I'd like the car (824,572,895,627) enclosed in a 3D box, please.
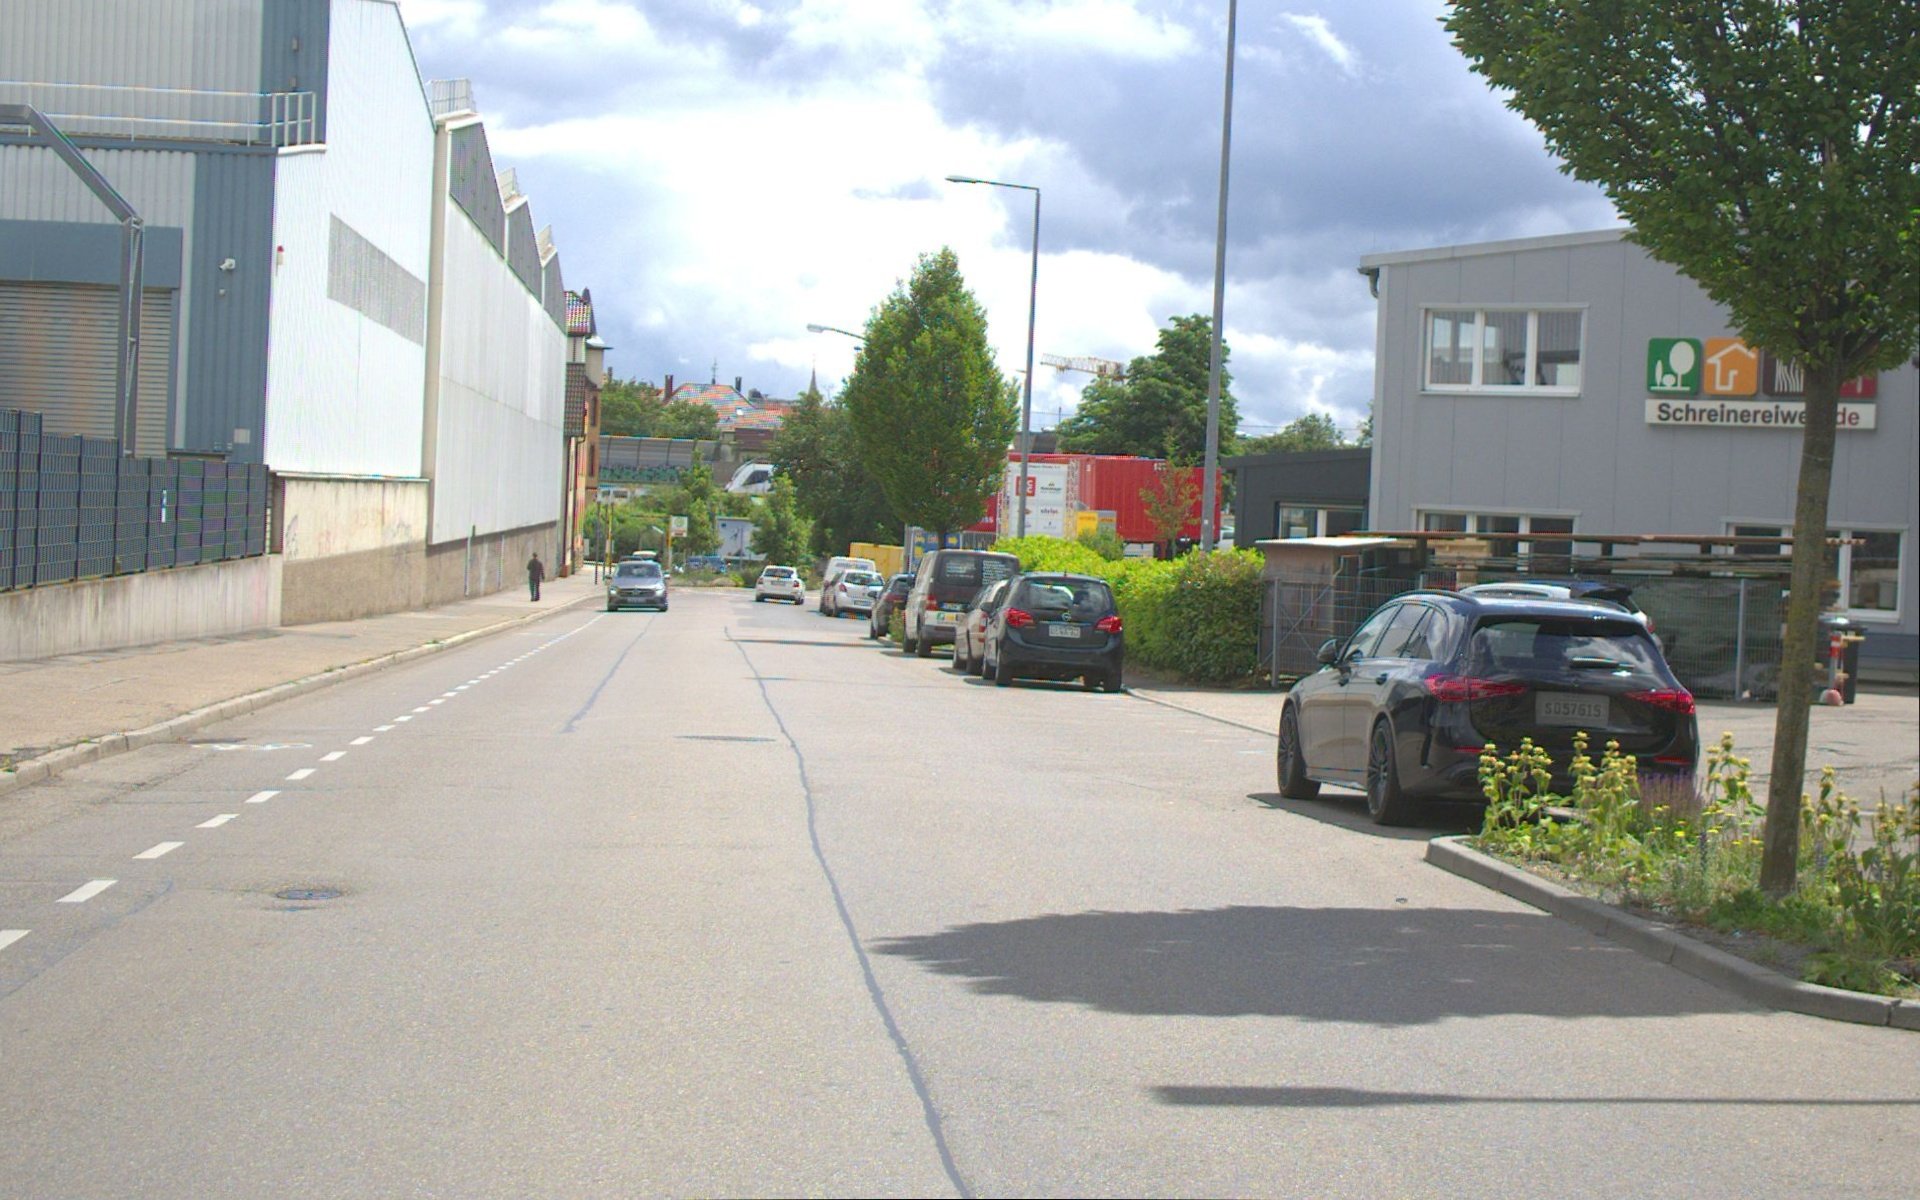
[{"bbox_3d":[-3.164,-0.024,107.460,1.701,1.522,3.739,5,0,-8],"label":"car"}]

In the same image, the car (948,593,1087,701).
[{"bbox_3d":[0.851,0.703,53.520,1.655,1.535,4.735,2,0,-4],"label":"car"}]

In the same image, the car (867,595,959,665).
[{"bbox_3d":[-1.084,0.659,77.169,1.714,1.469,4.512,2,0,-4],"label":"car"}]

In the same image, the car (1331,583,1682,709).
[{"bbox_3d":[6.699,0.548,42.457,1.720,1.458,4.073,-1,1,-42],"label":"car"}]

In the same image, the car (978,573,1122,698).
[{"bbox_3d":[1.226,0.483,48.490,1.679,1.632,4.123,2,0,-2],"label":"car"}]

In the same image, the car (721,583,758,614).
[{"bbox_3d":[-11.879,-0.059,185.241,1.852,1.481,4.000,2,-2,-5],"label":"car"}]

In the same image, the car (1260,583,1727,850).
[{"bbox_3d":[3.265,0.674,22.008,1.791,1.461,4.709,2,0,-5],"label":"car"}]

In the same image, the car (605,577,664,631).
[{"bbox_3d":[-9.961,0.131,105.299,1.719,1.550,4.288,-1,-1,-5],"label":"car"}]

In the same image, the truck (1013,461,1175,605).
[{"bbox_3d":[4.399,-2.151,115.040,2.573,4.434,7.864,3,-2,-19],"label":"truck"}]

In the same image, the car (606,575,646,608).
[{"bbox_3d":[-16.827,-0.437,173.346,1.852,1.481,4.000,2,-2,-5],"label":"car"}]

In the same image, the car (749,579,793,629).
[{"bbox_3d":[-7.304,0.170,132.724,1.566,1.780,3.606,2,-2,-4],"label":"car"}]

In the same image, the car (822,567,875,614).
[{"bbox_3d":[-3.855,-0.335,118.057,1.701,1.522,3.738,3,0,-3],"label":"car"}]

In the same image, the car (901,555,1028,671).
[{"bbox_3d":[0.038,0.239,63.414,1.869,1.983,5.144,2,0,-4],"label":"car"}]
